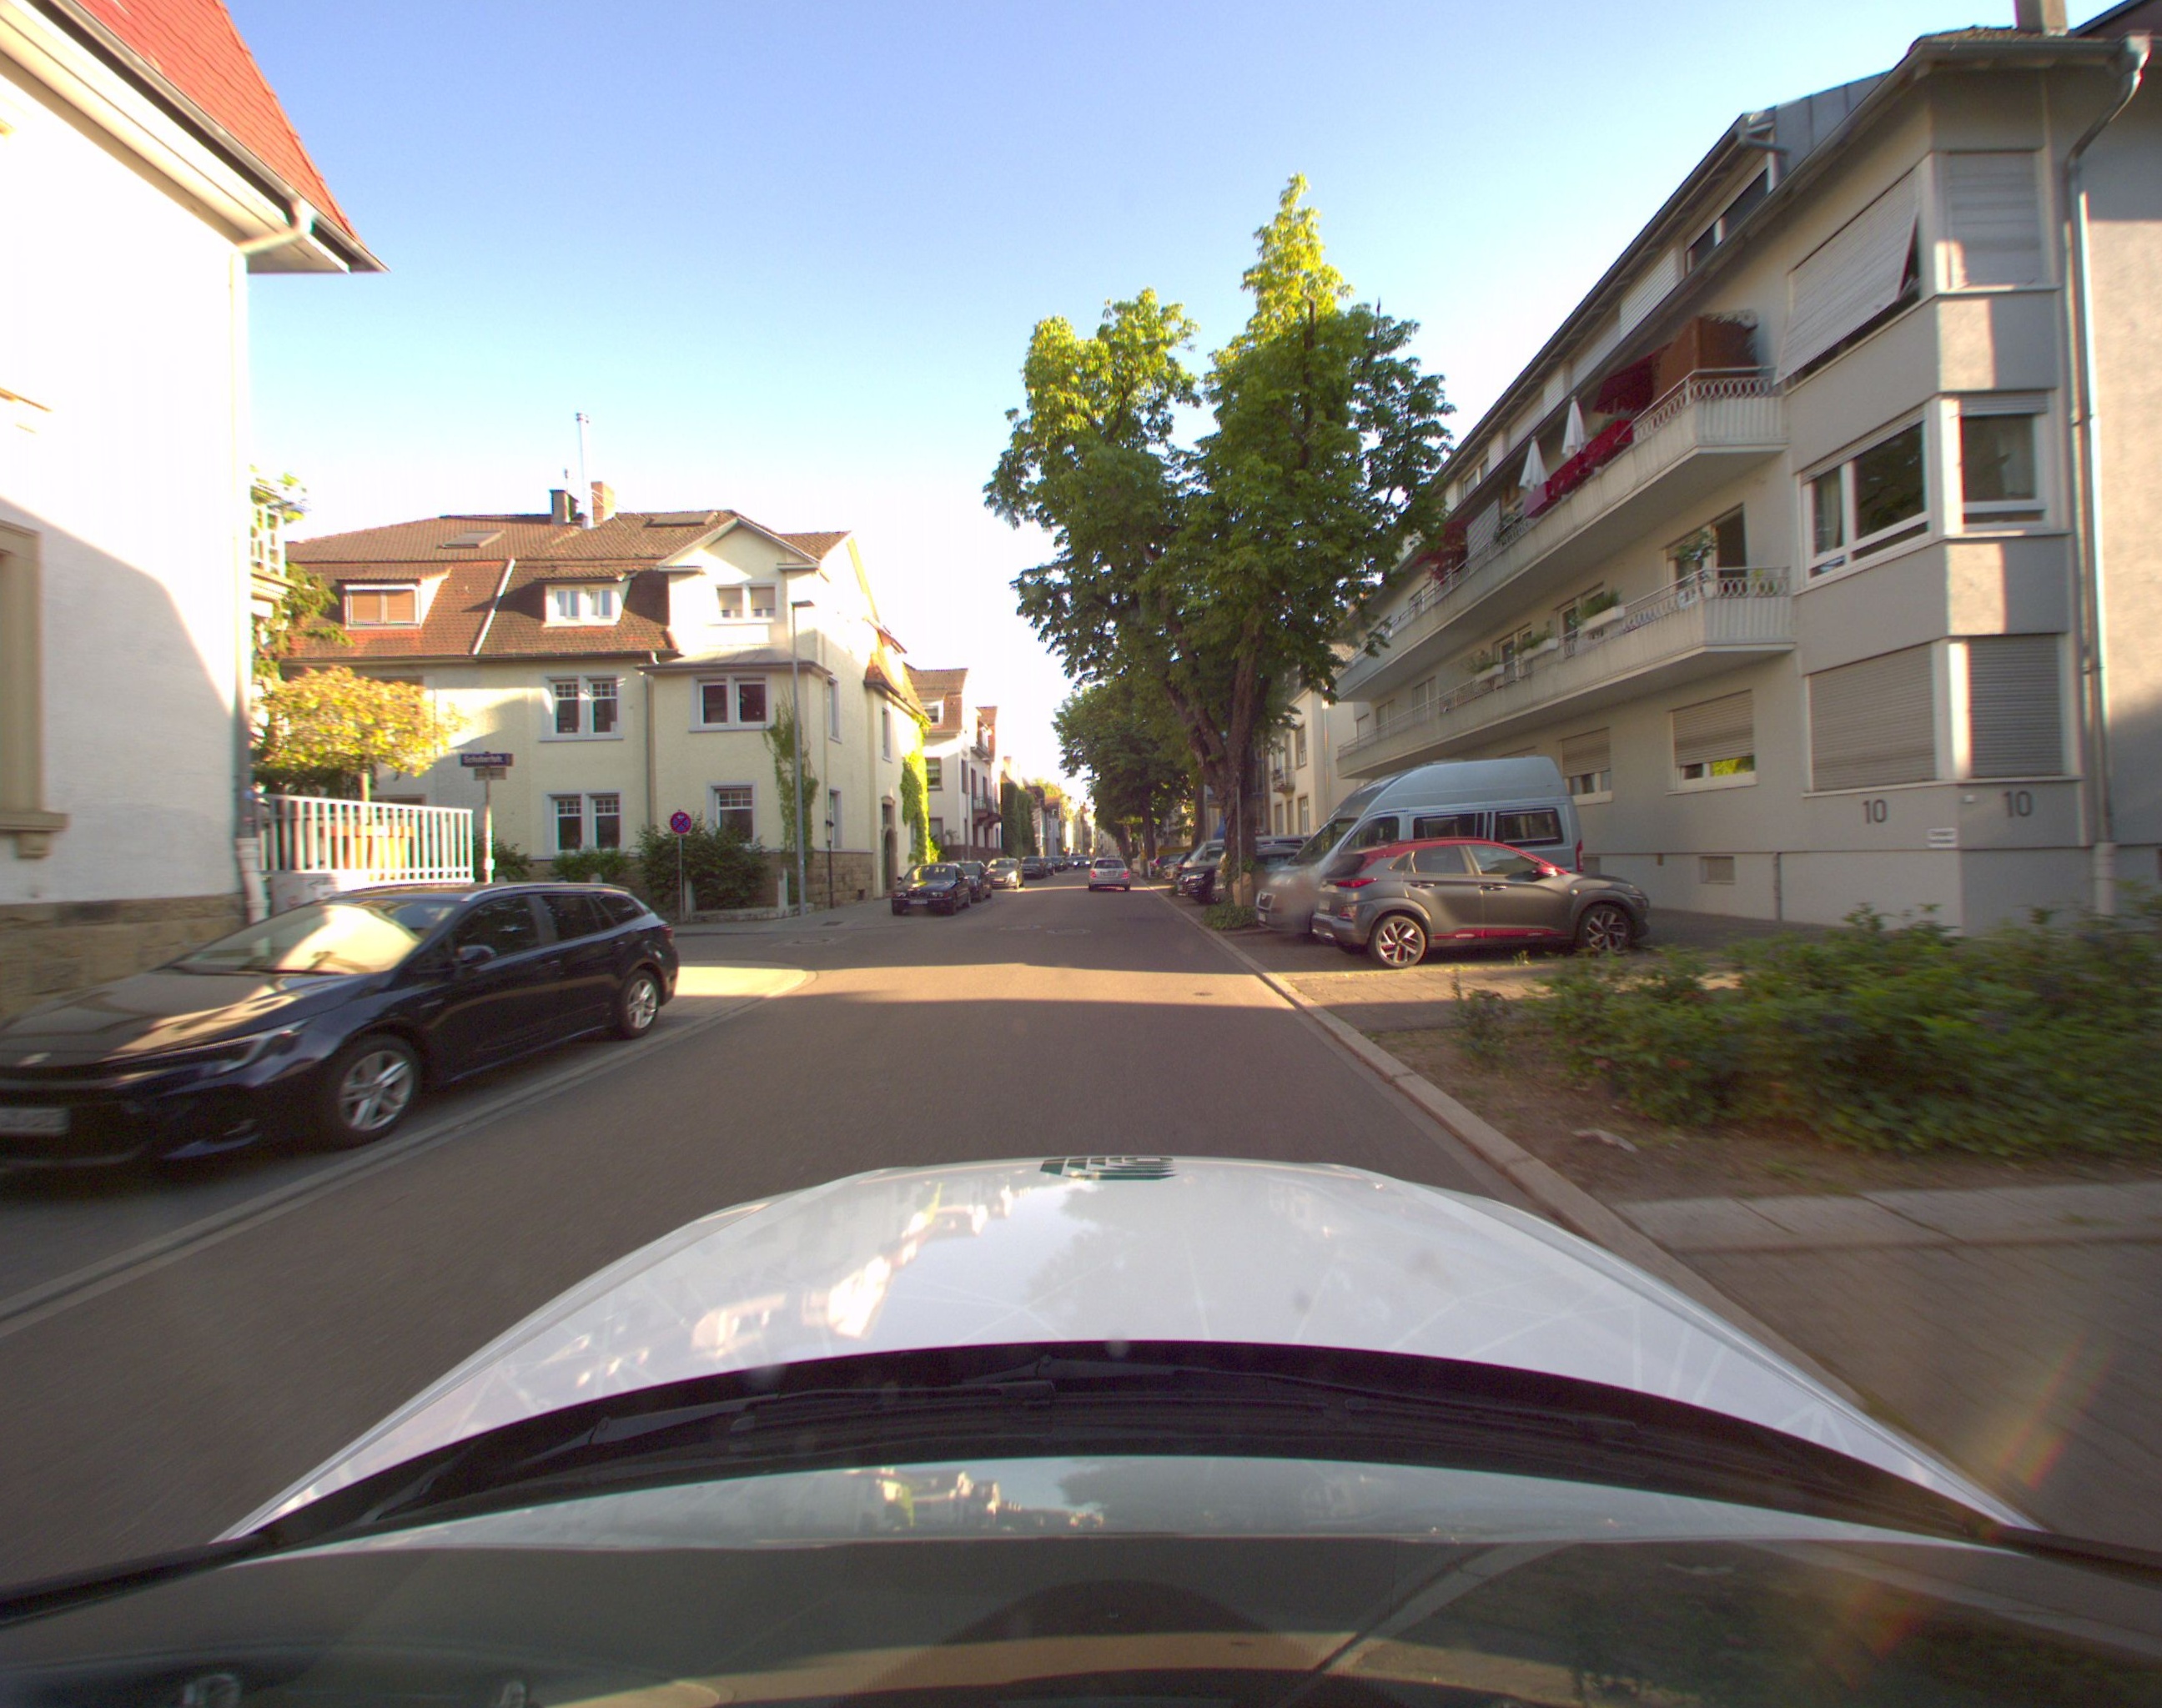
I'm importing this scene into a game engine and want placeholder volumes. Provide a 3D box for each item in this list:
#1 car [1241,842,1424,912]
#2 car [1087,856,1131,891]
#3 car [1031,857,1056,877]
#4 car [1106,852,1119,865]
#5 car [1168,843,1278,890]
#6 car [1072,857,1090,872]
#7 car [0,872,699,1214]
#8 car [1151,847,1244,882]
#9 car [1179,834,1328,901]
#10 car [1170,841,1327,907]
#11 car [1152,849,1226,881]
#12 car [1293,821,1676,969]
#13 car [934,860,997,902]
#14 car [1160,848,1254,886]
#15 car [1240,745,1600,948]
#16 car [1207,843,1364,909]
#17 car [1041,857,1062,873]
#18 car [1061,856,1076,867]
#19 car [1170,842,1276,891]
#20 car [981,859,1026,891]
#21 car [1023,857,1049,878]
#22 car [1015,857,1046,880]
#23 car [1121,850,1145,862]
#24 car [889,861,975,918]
[{"bbox_3d":[5.792,0.544,19.070,3.708,1.431,1.758,-2,-2,0],"label":"car"},{"bbox_3d":[1.232,0.823,35.262,1.777,1.437,3.853,-1,-1,2],"label":"car"},{"bbox_3d":[-2.956,0.990,64.298,1.787,1.461,4.776,0,0,-1],"label":"car"},{"bbox_3d":[4.171,0.592,106.040,1.617,1.570,3.682,-1,0,3],"label":"car"},{"bbox_3d":[5.936,0.507,34.482,4.316,1.683,1.706,-3,0,1],"label":"car"},{"bbox_3d":[0.005,1.098,87.873,1.765,1.448,4.001,-2,0,1],"label":"car"},{"bbox_3d":[-4.831,0.919,6.046,1.647,1.454,4.633,0,0,2],"label":"car"},{"bbox_3d":[6.228,0.564,43.856,4.701,1.535,1.851,-3,0,1],"label":"car"},{"bbox_3d":[5.567,0.433,26.703,4.456,2.013,1.896,-2,0,-1],"label":"car"},{"bbox_3d":[4.885,0.561,24.023,4.170,1.723,1.762,-2,-1,-6],"label":"car"},{"bbox_3d":[6.095,0.613,46.213,3.970,1.492,1.852,-3,0,3],"label":"car"},{"bbox_3d":[5.176,0.502,10.851,4.175,1.568,1.758,-3,0,0],"label":"car"},{"bbox_3d":[-4.194,0.935,30.136,1.647,1.415,4.168,0,0,1],"label":"car"},{"bbox_3d":[5.946,0.595,38.835,4.141,1.539,1.851,-3,0,1],"label":"car"},{"bbox_3d":[5.435,-0.124,13.605,5.078,2.902,2.076,-3,0,0],"label":"car"},{"bbox_3d":[5.344,0.565,21.606,3.708,1.554,1.639,-2,-1,0],"label":"car"},{"bbox_3d":[-2.713,0.969,75.463,1.643,1.421,4.100,0,0,2],"label":"car"},{"bbox_3d":[-1.617,1.001,105.653,1.646,1.324,4.049,0,-1,4],"label":"car"},{"bbox_3d":[5.605,0.478,32.520,3.931,1.683,1.708,-3,0,4],"label":"car"},{"bbox_3d":[-3.719,0.972,39.765,1.647,1.447,4.007,0,0,2],"label":"car"},{"bbox_3d":[-3.188,0.931,57.996,1.648,1.447,3.843,0,0,-1],"label":"car"},{"bbox_3d":[-3.324,0.923,53.938,1.647,1.486,3.766,0,0,2],"label":"car"},{"bbox_3d":[9.428,0.393,148.256,4.207,1.896,1.905,-3,0,-1],"label":"car"},{"bbox_3d":[-4.343,0.989,24.404,1.704,1.470,4.633,0,0,0],"label":"car"}]
